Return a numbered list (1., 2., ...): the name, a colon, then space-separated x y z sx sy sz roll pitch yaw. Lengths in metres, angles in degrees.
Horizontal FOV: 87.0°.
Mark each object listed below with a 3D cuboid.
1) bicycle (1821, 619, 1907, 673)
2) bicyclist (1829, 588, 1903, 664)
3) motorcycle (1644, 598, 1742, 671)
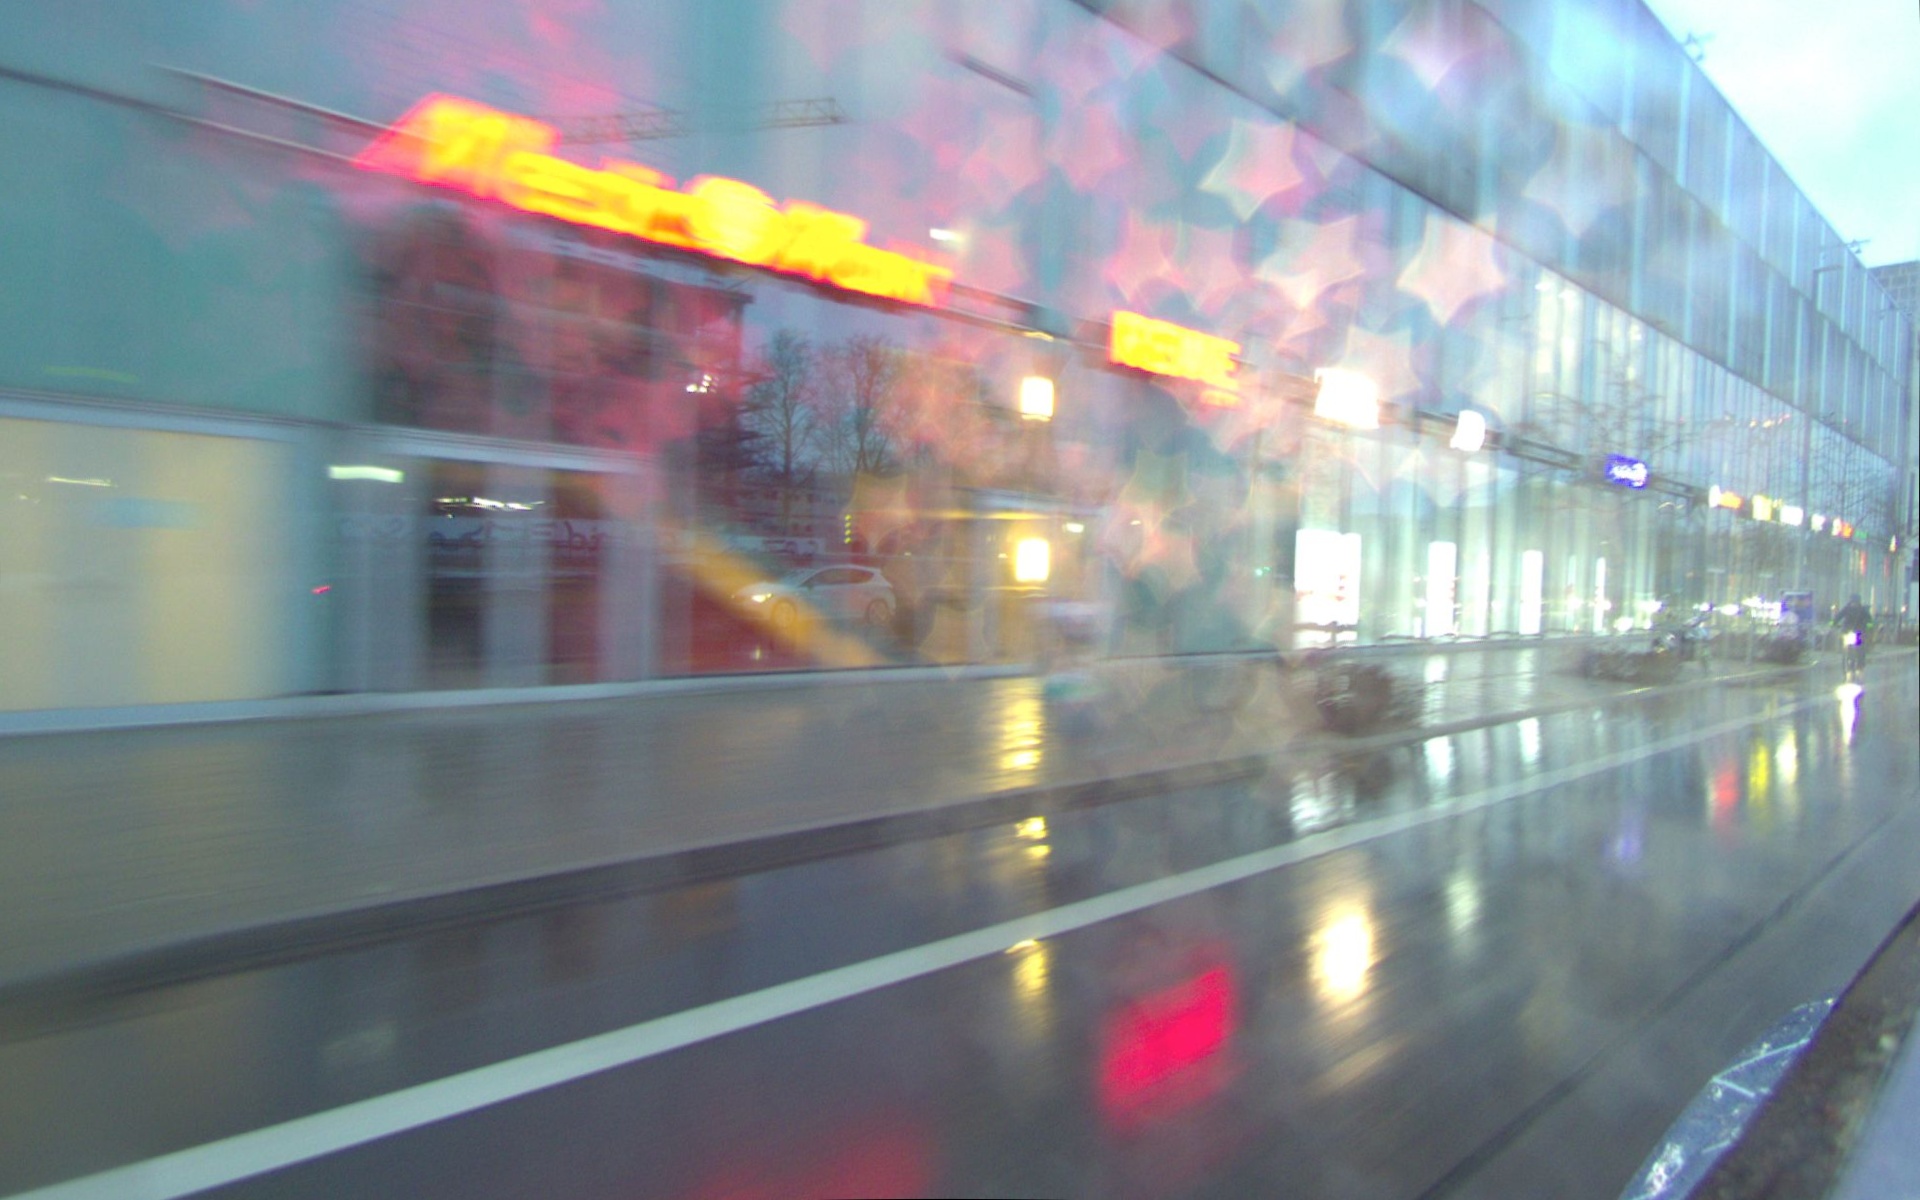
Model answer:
1. bicycle: 18.500 0.916 20.692 2.199 1.012 0.945 1 1 -38
2. bicyclist: 18.572 0.510 20.740 1.047 1.481 0.945 1 1 -38
3. motorcycle: 15.027 0.678 20.809 0.584 1.350 1.910 1 2 0
